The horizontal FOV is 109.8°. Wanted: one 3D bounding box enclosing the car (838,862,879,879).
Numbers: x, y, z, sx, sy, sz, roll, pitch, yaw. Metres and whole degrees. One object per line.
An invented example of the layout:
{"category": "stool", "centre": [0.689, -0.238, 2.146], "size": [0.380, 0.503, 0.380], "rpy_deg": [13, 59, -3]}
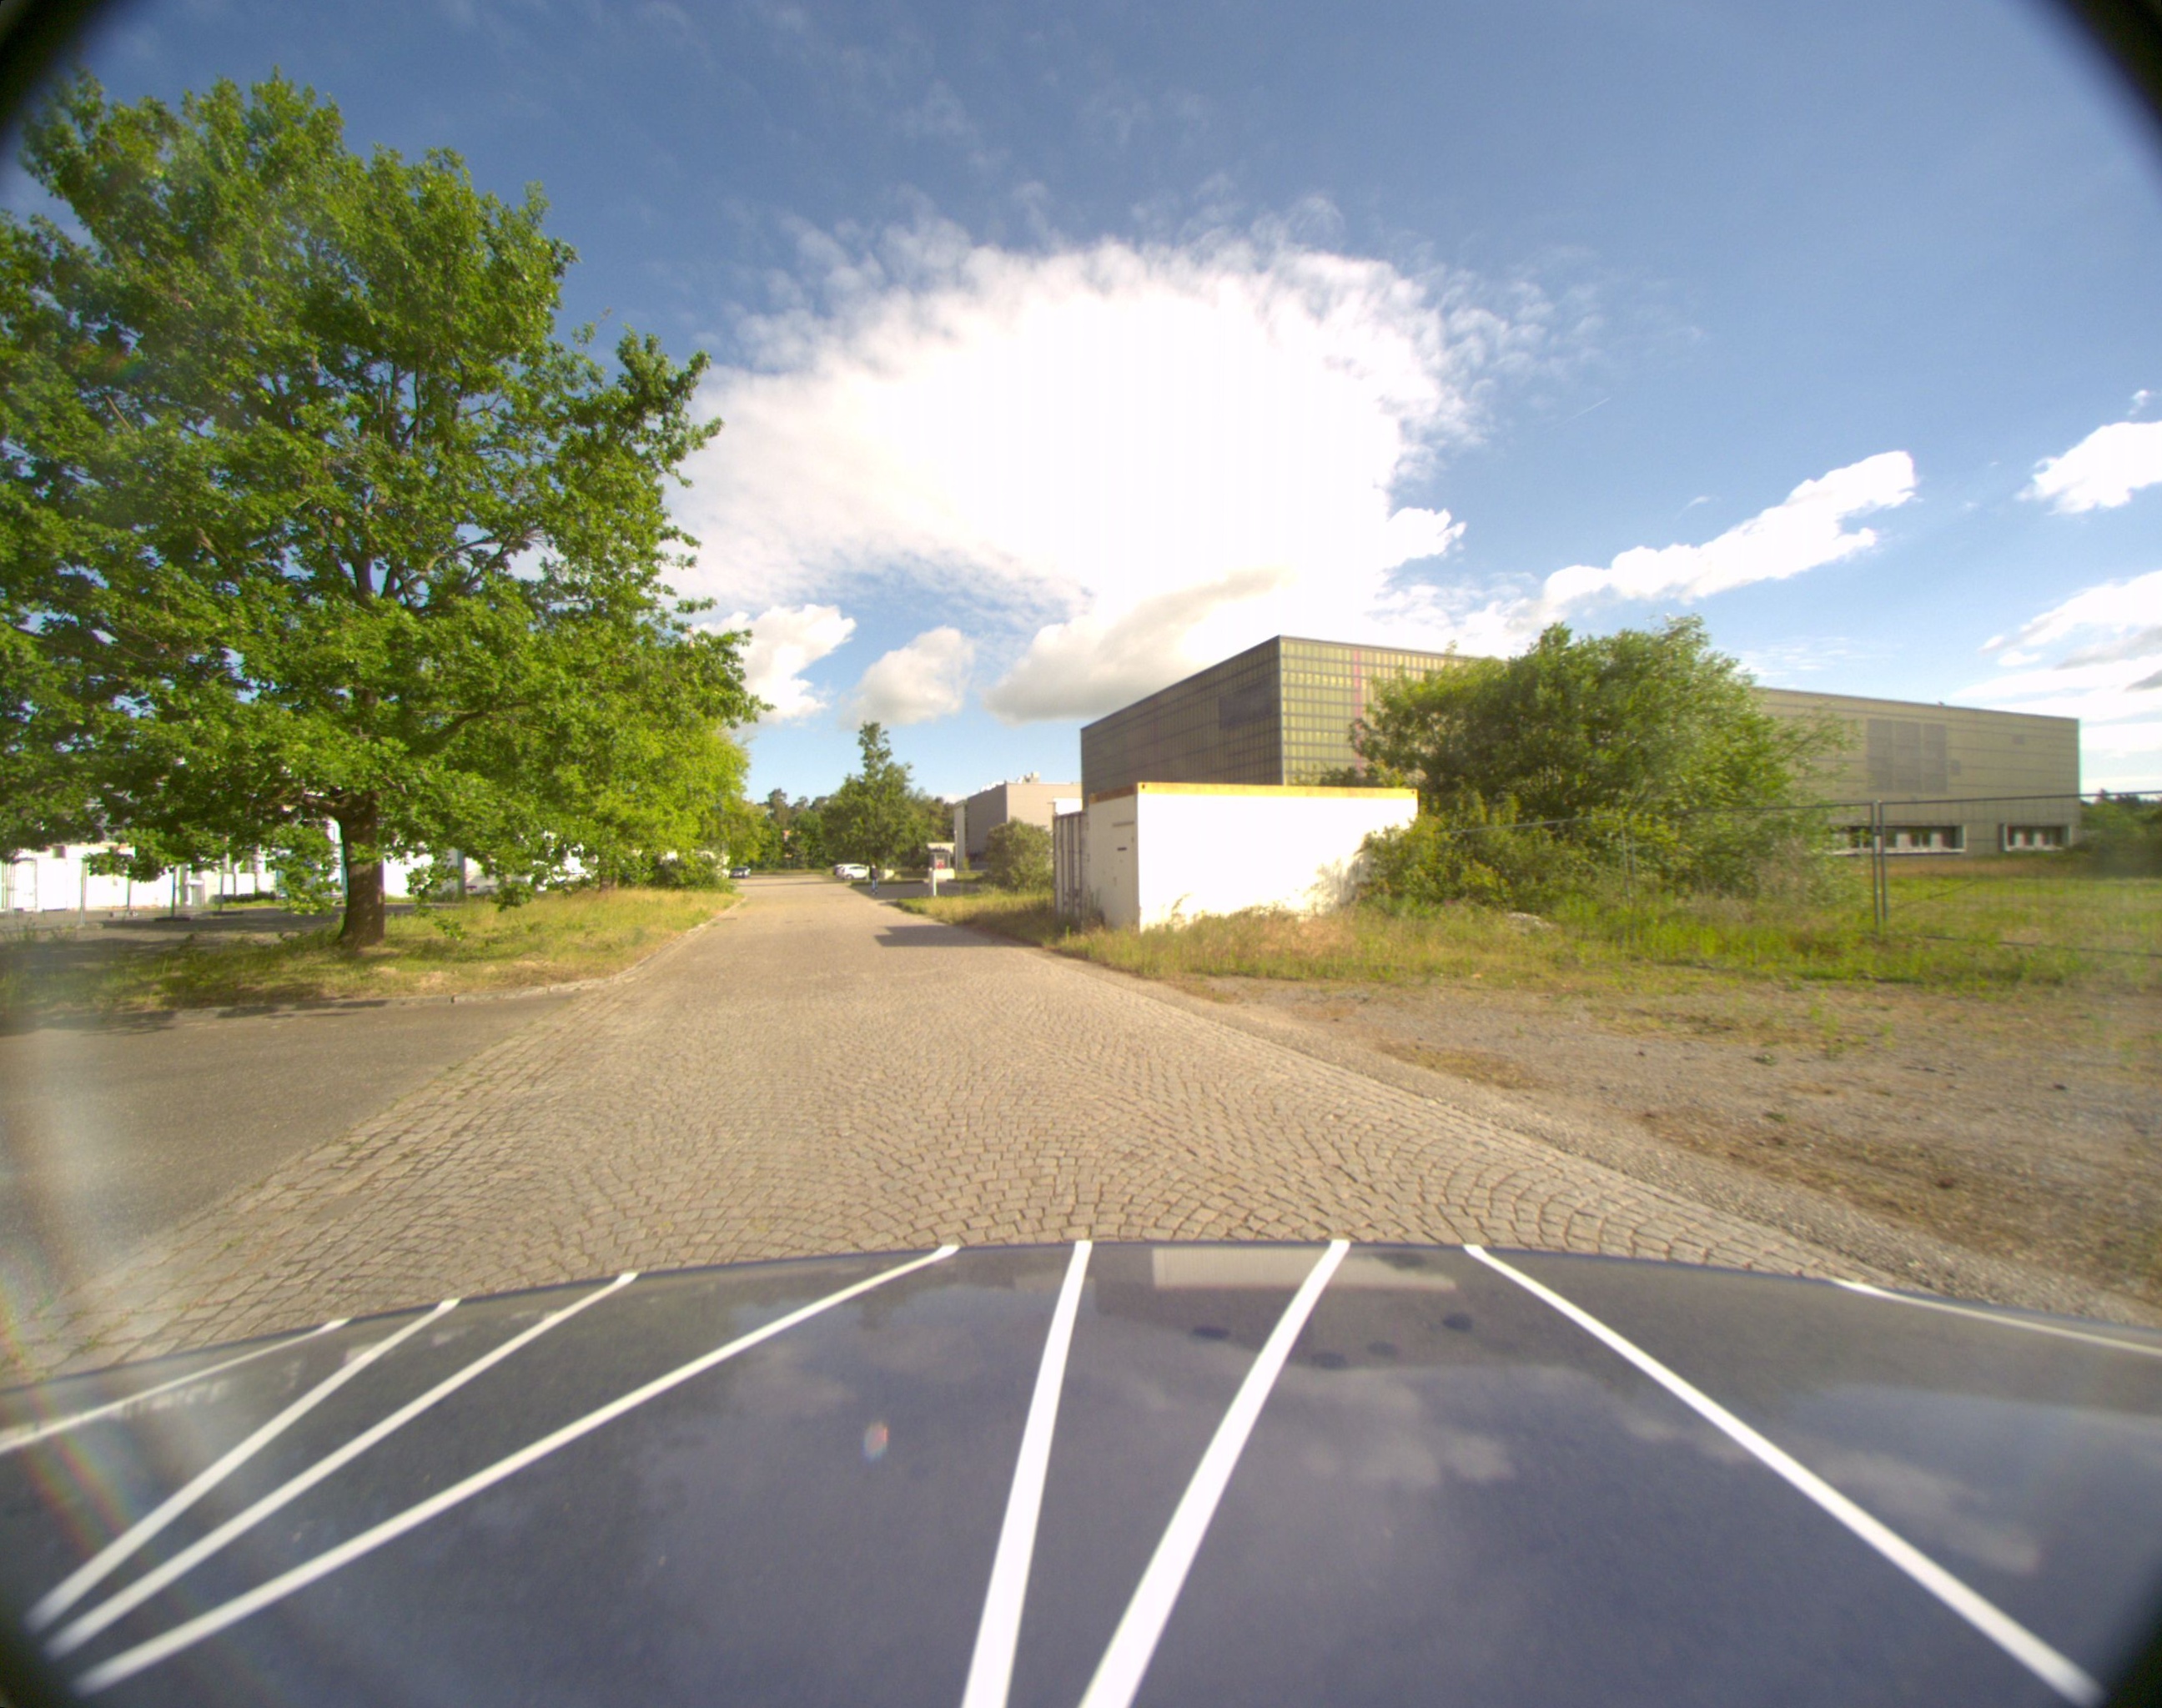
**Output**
{"category": "car", "centre": [-22.874, 1.698, 78.171], "size": [4.002, 1.633, 1.997], "rpy_deg": [-1, 0, -15]}

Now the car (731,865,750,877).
{"category": "car", "centre": [-42.043, 2.092, 93.768], "size": [2.003, 1.363, 3.991], "rpy_deg": [-1, 0, -27]}

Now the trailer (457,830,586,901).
{"category": "trailer", "centre": [-30.967, 0.601, 42.664], "size": [2.929, 3.450, 9.885], "rpy_deg": [-1, 0, -19]}

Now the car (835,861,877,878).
{"category": "car", "centre": [-22.307, 1.533, 75.472], "size": [4.002, 1.633, 1.997], "rpy_deg": [-1, 0, -15]}

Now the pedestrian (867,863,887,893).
{"category": "pedestrian", "centre": [-10.745, 1.272, 40.043], "size": [0.868, 1.549, 1.027], "rpy_deg": [-1, 0, -10]}
